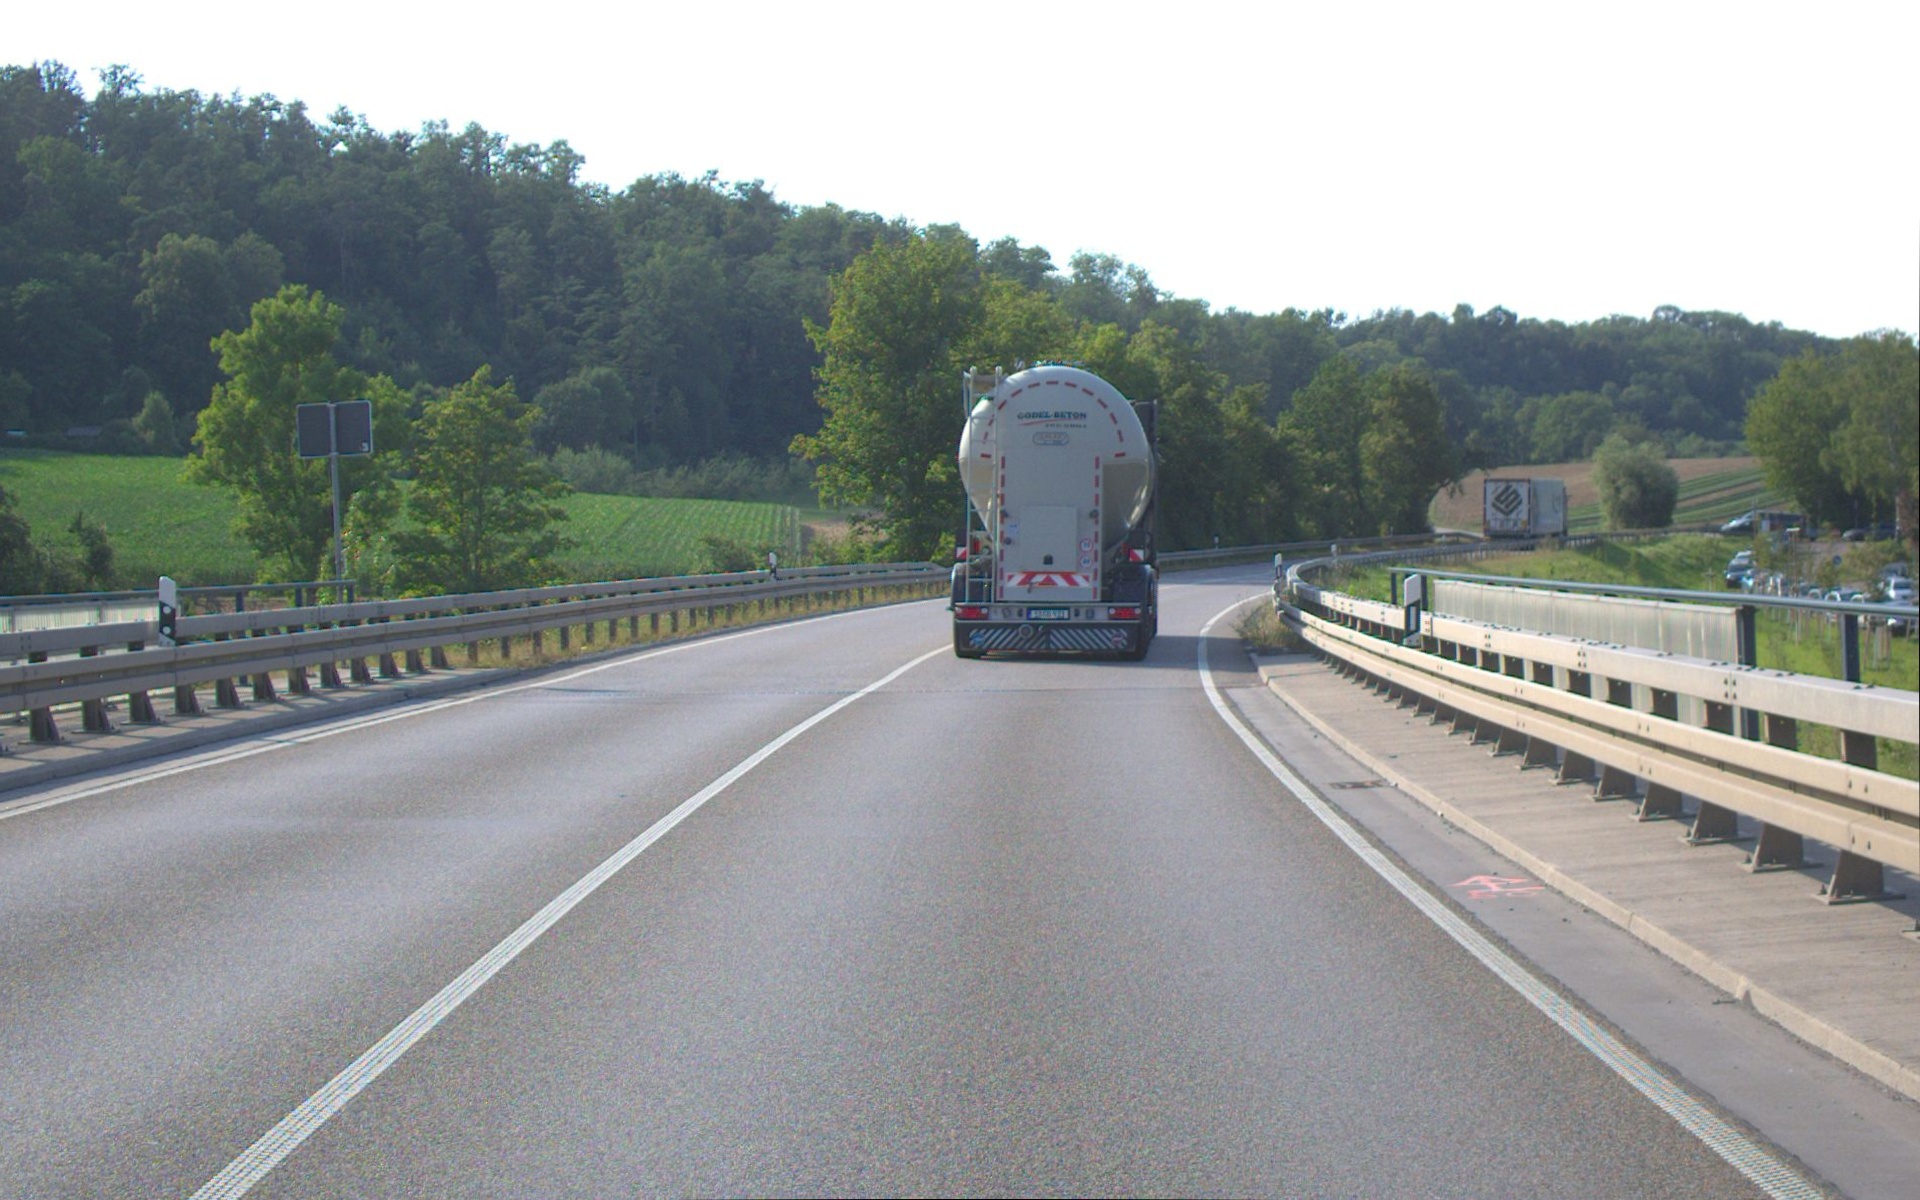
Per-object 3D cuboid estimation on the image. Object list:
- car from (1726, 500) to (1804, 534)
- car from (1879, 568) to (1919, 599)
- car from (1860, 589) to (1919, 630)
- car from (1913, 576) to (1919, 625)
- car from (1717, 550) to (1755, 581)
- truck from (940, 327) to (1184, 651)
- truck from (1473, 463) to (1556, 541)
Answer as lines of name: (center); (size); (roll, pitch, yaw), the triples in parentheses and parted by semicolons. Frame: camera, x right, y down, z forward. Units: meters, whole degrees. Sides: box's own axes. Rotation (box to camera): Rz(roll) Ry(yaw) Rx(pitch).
car: (58.236, -6.025, 248.725); (5.146, 1.937, 1.973); (6, 5, 21)
car: (49.465, -0.854, 180.822); (1.701, 1.505, 3.944); (-1, 2, 9)
car: (41.472, 0.387, 152.080); (1.892, 1.477, 4.783); (-4, 3, -1)
car: (41.727, 0.062, 143.546); (2.119, 2.011, 5.380); (-4, 3, -1)
car: (47.447, -2.124, 210.087); (1.893, 1.554, 4.780); (-3, 3, 17)
truck: (1.729, -1.528, 50.565); (2.893, 4.128, 13.170); (0, 1, 5)
truck: (31.942, -5.713, 197.596); (3.186, 4.213, 13.164); (0, 2, 16)
